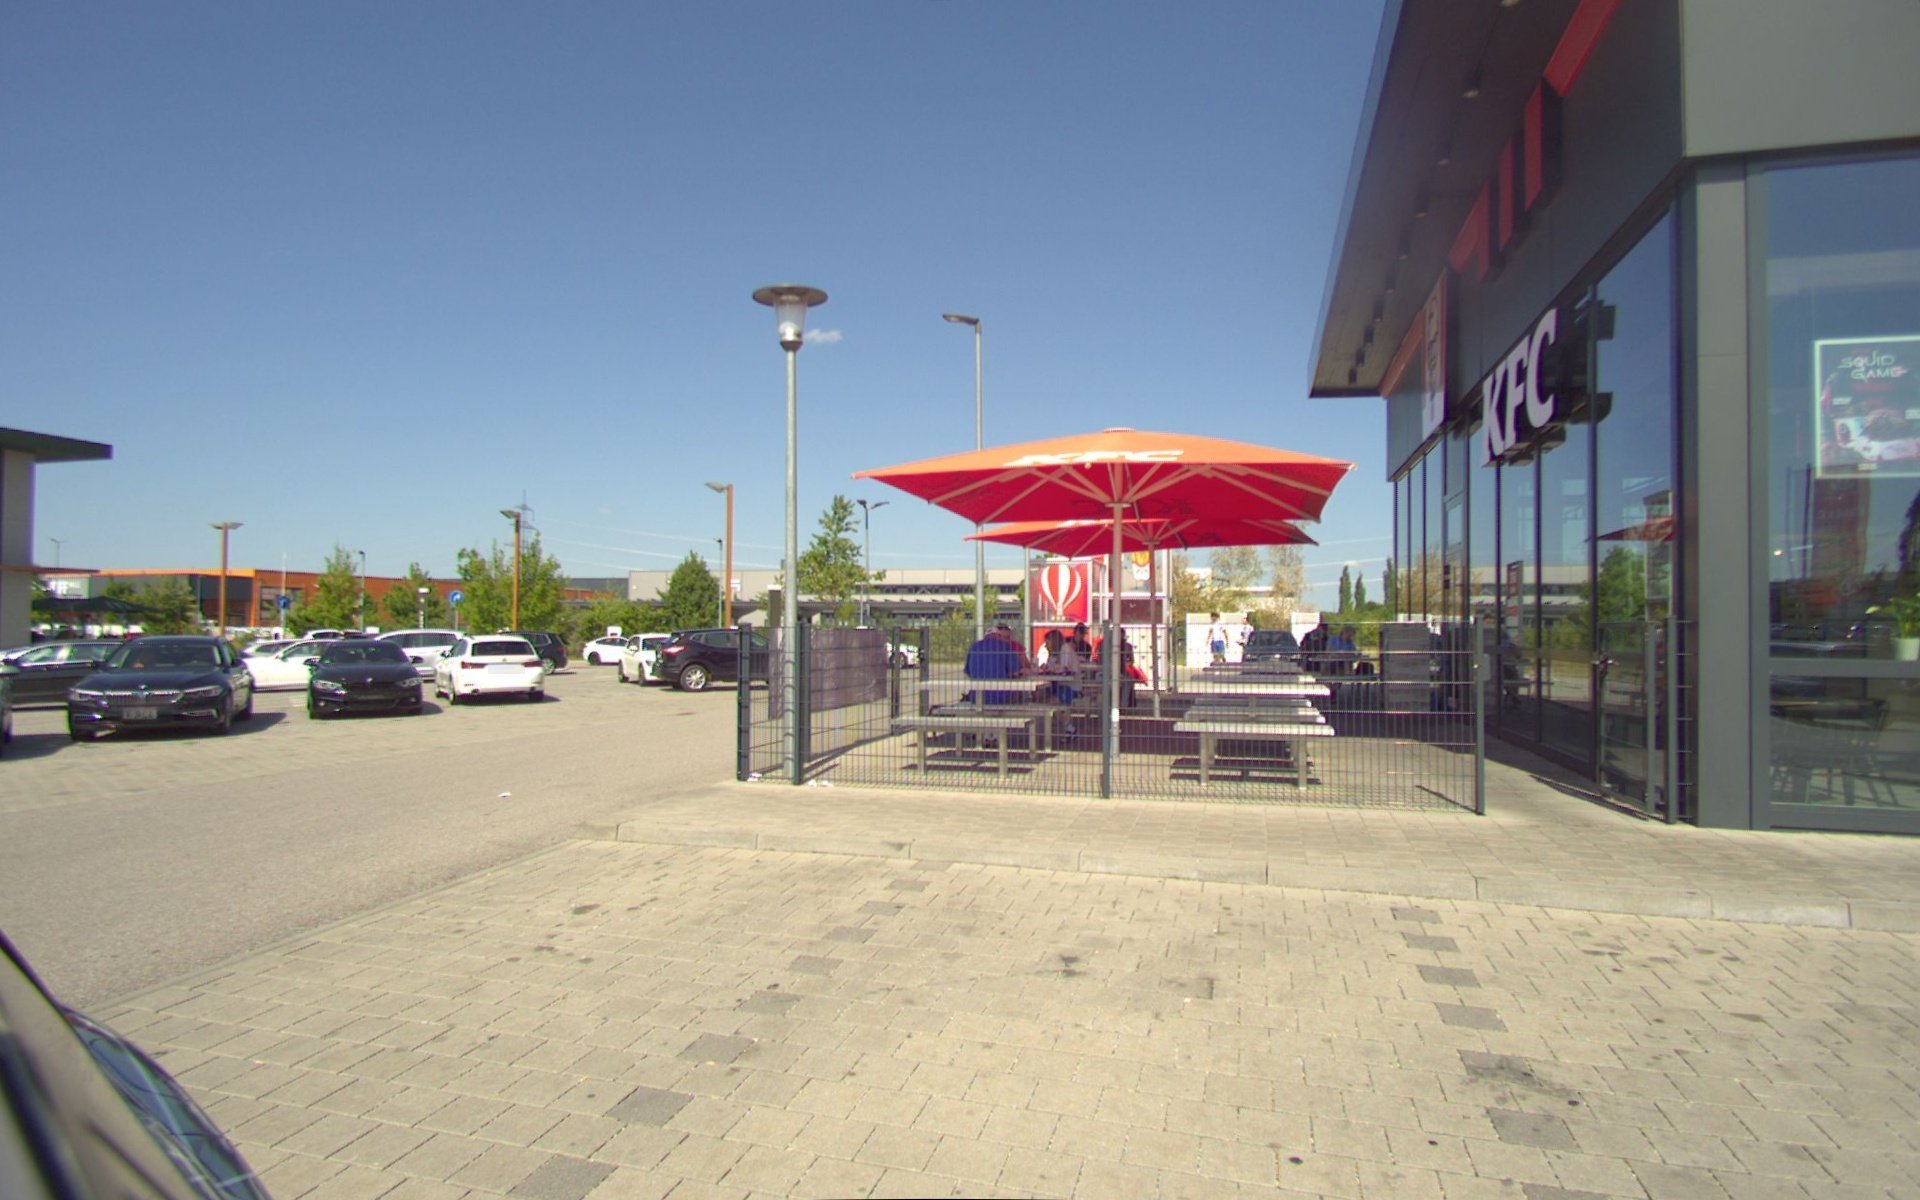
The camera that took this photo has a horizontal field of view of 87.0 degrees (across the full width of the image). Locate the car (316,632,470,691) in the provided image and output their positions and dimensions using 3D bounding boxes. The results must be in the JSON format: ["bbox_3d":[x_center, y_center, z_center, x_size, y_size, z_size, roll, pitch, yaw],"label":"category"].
[{"bbox_3d":[-17.510,1.862,31.441,4.043,1.687,1.819,0,-2,-28],"label":"car"}]

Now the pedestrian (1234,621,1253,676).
[{"bbox_3d":[9.280,1.573,33.106,0.522,1.787,0.533,-2,-3,22],"label":"pedestrian"}]

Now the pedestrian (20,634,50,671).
[{"bbox_3d":[-40.024,2.277,43.800,0.690,1.571,0.724,0,-2,-12],"label":"pedestrian"}]

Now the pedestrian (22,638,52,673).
[{"bbox_3d":[-41.346,2.480,45.322,0.690,1.571,0.724,0,-2,-12],"label":"pedestrian"}]

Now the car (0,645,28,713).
[{"bbox_3d":[-23.910,1.789,22.325,4.564,1.498,1.902,0,-2,-28],"label":"car"}]

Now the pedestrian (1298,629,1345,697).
[{"bbox_3d":[6.583,1.139,18.448,0.748,1.209,0.691,-2,-2,18],"label":"pedestrian"}]

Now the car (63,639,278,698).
[{"bbox_3d":[-22.434,1.911,29.026,4.564,1.498,1.902,0,-2,-28],"label":"car"}]

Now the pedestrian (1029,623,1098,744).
[{"bbox_3d":[1.130,0.905,11.127,0.676,1.283,0.551,-1,-2,0],"label":"pedestrian"}]

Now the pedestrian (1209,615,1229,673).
[{"bbox_3d":[8.102,1.374,31.632,0.522,1.787,0.533,-2,-3,22],"label":"pedestrian"}]

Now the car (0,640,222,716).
[{"bbox_3d":[-18.744,1.642,21.918,4.206,1.498,1.819,0,-2,-28],"label":"car"}]

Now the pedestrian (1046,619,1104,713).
[{"bbox_3d":[1.783,1.007,15.632,0.662,1.398,0.801,-2,-3,25],"label":"pedestrian"}]

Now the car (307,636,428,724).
[{"bbox_3d":[-11.442,1.455,19.400,1.805,1.471,4.382,1,-3,-33],"label":"car"}]

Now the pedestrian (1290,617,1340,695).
[{"bbox_3d":[6.735,1.060,19.235,0.791,1.454,0.690,-1,-2,15],"label":"pedestrian"}]

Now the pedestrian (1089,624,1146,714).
[{"bbox_3d":[2.385,1.029,15.277,0.662,1.314,0.681,-2,-3,25],"label":"pedestrian"}]

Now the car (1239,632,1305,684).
[{"bbox_3d":[9.266,1.691,30.284,1.714,1.422,4.293,-1,-2,15],"label":"car"}]

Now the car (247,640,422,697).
[{"bbox_3d":[-17.395,1.871,28.383,4.043,1.424,1.819,0,-2,-28],"label":"car"}]

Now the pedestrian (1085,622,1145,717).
[{"bbox_3d":[2.216,0.979,14.475,0.662,1.314,0.706,-2,-3,25],"label":"pedestrian"}]

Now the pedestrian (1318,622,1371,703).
[{"bbox_3d":[6.515,1.051,17.180,0.749,1.322,0.939,-2,-2,17],"label":"pedestrian"}]

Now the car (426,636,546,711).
[{"bbox_3d":[-10.642,1.564,22.556,1.805,1.471,4.597,1,-3,-33],"label":"car"}]

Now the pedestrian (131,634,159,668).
[{"bbox_3d":[-37.898,2.360,47.070,0.716,1.571,0.698,-1,-2,17],"label":"pedestrian"}]

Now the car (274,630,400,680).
[{"bbox_3d":[-23.771,2.087,38.757,3.889,1.788,1.659,0,-2,-23],"label":"car"}]

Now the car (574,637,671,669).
[{"bbox_3d":[-16.542,2.592,49.636,4.296,1.490,1.832,-1,-2,18],"label":"car"}]

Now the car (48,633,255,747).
[{"bbox_3d":[-12.590,1.312,16.086,1.942,1.498,4.797,1,-3,-31],"label":"car"}]

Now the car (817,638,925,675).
[{"bbox_3d":[-3.980,2.511,45.498,4.531,1.605,1.834,-1,-2,13],"label":"car"}]

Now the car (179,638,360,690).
[{"bbox_3d":[-21.960,2.011,32.437,4.564,1.498,1.902,0,-2,-28],"label":"car"}]

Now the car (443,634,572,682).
[{"bbox_3d":[-15.769,1.987,35.341,3.932,1.564,1.760,1,-3,-31],"label":"car"}]

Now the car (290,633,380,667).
[{"bbox_3d":[-30.183,2.391,48.883,3.854,1.573,1.752,-2,-2,21],"label":"car"}]

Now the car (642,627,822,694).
[{"bbox_3d":[-5.900,1.531,26.234,4.229,1.603,1.863,1,-3,-27],"label":"car"}]

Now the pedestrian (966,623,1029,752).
[{"bbox_3d":[0.372,0.887,10.431,0.605,1.283,0.624,-1,-2,0],"label":"pedestrian"}]

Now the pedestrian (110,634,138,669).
[{"bbox_3d":[-37.881,2.314,45.863,0.716,1.571,0.698,-1,-2,17],"label":"pedestrian"}]

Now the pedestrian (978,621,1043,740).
[{"bbox_3d":[0.556,0.891,11.430,0.676,1.283,0.841,-1,-2,0],"label":"pedestrian"}]

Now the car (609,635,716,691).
[{"bbox_3d":[-8.650,1.778,29.211,1.942,1.471,4.219,1,-3,-31],"label":"car"}]
